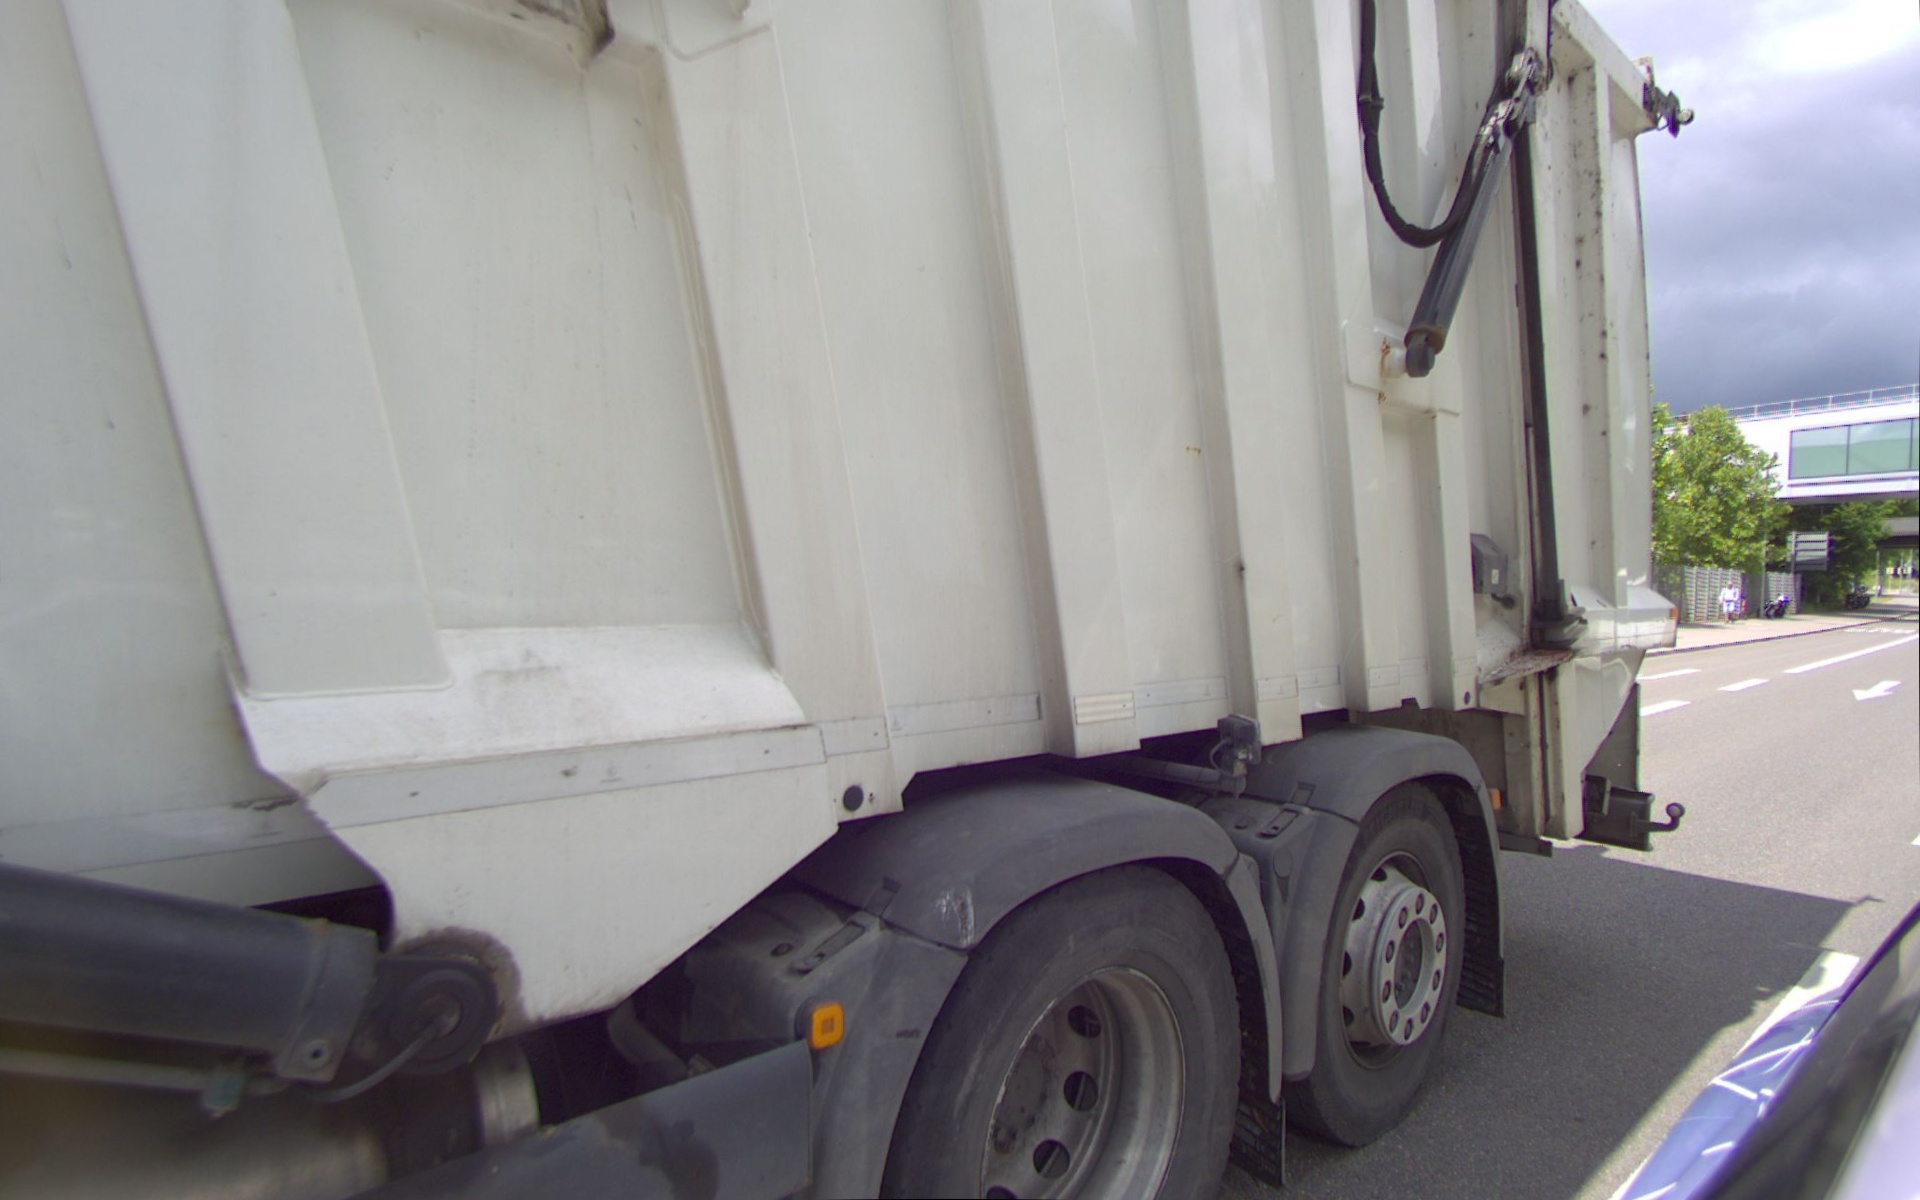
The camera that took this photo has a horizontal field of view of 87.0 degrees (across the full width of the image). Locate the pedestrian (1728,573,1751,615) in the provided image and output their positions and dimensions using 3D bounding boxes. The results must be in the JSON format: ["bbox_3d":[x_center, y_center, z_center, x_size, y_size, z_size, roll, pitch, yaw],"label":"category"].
[{"bbox_3d":[35.849,-0.283,46.564,0.647,1.936,0.738,0,0,-42],"label":"pedestrian"}]

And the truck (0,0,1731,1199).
[{"bbox_3d":[-0.854,-0.594,2.432,9.999,3.962,2.492,-1,0,-42],"label":"truck"}]
